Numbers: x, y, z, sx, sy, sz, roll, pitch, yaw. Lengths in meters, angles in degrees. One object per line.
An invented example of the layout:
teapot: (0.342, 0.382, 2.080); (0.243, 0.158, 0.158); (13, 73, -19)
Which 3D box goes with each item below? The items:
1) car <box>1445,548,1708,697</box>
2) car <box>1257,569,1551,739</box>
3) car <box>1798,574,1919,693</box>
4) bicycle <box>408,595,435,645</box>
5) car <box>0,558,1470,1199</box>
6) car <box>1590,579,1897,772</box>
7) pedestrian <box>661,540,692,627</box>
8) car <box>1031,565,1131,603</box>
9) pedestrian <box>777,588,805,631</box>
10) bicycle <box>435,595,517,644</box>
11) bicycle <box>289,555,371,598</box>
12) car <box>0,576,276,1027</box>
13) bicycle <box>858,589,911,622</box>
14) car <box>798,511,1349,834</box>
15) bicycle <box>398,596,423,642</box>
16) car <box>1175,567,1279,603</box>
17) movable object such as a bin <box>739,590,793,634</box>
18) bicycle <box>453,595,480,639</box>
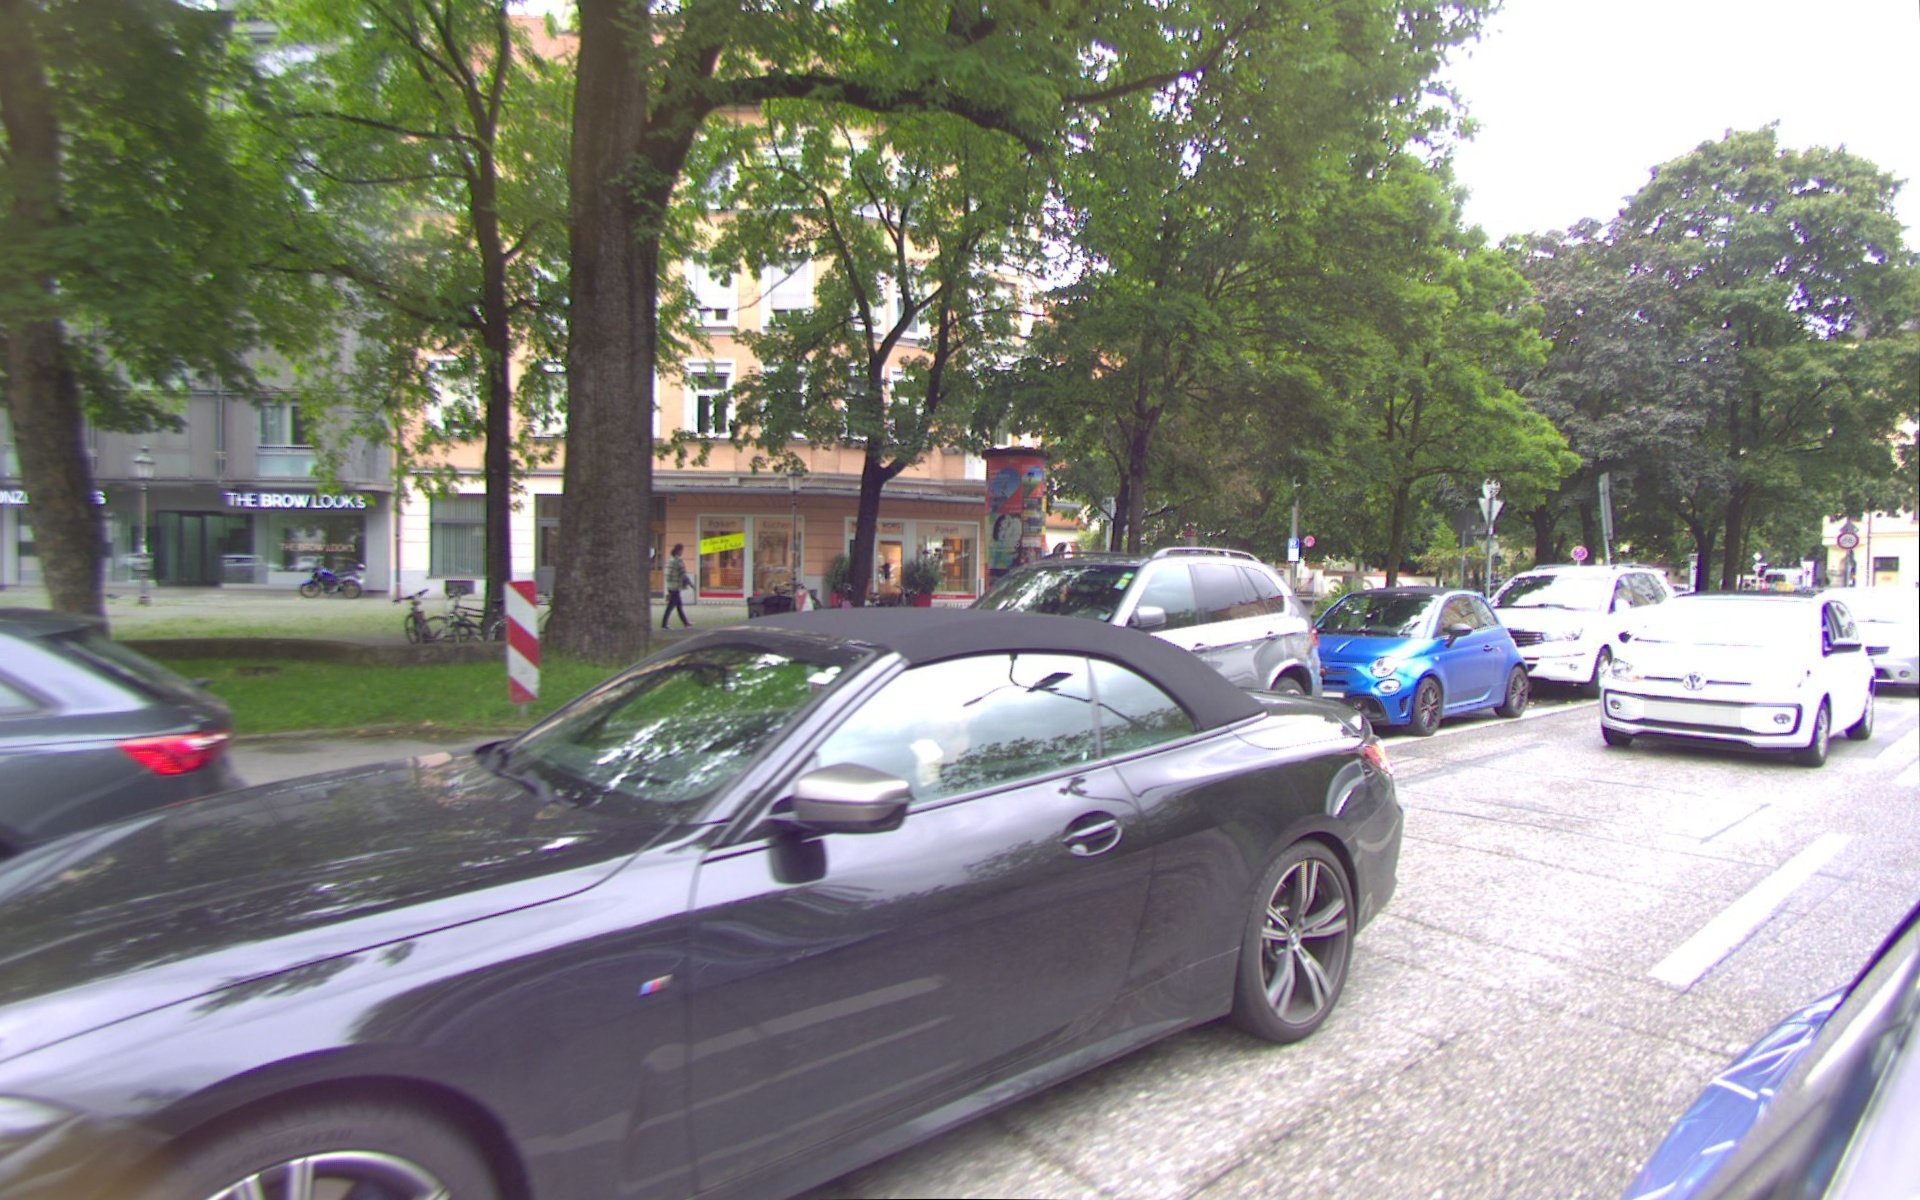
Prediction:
car: (9.328, 0.231, 15.130); (4.935, 1.879, 1.848); (-1, 2, -40)
car: (4.994, 0.474, 11.205); (3.597, 1.568, 1.523); (-1, 2, -40)
car: (13.938, 0.420, 15.040); (3.819, 1.549, 1.647); (-1, 2, -41)
bicycle: (-8.394, 0.299, 15.756); (0.313, 0.732, 1.180); (-1, 1, -31)
car: (-0.395, 0.613, 3.127); (4.712, 1.406, 1.728); (-1, 2, -39)
car: (7.642, 0.562, 9.769); (3.556, 1.483, 1.647); (-1, 2, -41)
pedestrian: (-6.395, -0.366, 22.849); (0.617, 1.926, 0.630); (-1, 0, -12)
car: (4.961, -0.656, 42.154); (1.824, 1.485, 4.447); (-1, 1, -30)
pedestrian: (-3.741, 0.210, 22.390); (0.479, 0.937, 0.379); (0, 1, 41)
bicycle: (-7.687, 0.298, 16.093); (1.155, 0.732, 0.319); (-1, 1, -29)
bicycle: (-19.685, -0.749, 31.653); (2.204, 1.305, 0.507); (-1, 1, -3)
car: (-4.906, 0.675, 3.031); (4.562, 1.479, 1.771); (-1, 2, -42)
bicycle: (-1.696, 0.117, 22.778); (1.158, 0.732, 0.319); (-1, 1, 5)
car: (1.128, 0.354, 8.017); (4.479, 1.842, 1.933); (-1, 2, -44)
bicycle: (-9.179, 0.302, 16.905); (0.313, 0.732, 1.180); (-1, 1, -31)
car: (11.710, -0.673, 44.707); (1.824, 1.485, 4.447); (-1, 1, -30)
movable object such as a bin: (-4.167, 0.239, 21.727); (0.758, 0.883, 1.182); (0, 2, -31)
bicycle: (-8.613, 0.280, 17.643); (0.313, 0.732, 1.180); (-1, 1, -31)
